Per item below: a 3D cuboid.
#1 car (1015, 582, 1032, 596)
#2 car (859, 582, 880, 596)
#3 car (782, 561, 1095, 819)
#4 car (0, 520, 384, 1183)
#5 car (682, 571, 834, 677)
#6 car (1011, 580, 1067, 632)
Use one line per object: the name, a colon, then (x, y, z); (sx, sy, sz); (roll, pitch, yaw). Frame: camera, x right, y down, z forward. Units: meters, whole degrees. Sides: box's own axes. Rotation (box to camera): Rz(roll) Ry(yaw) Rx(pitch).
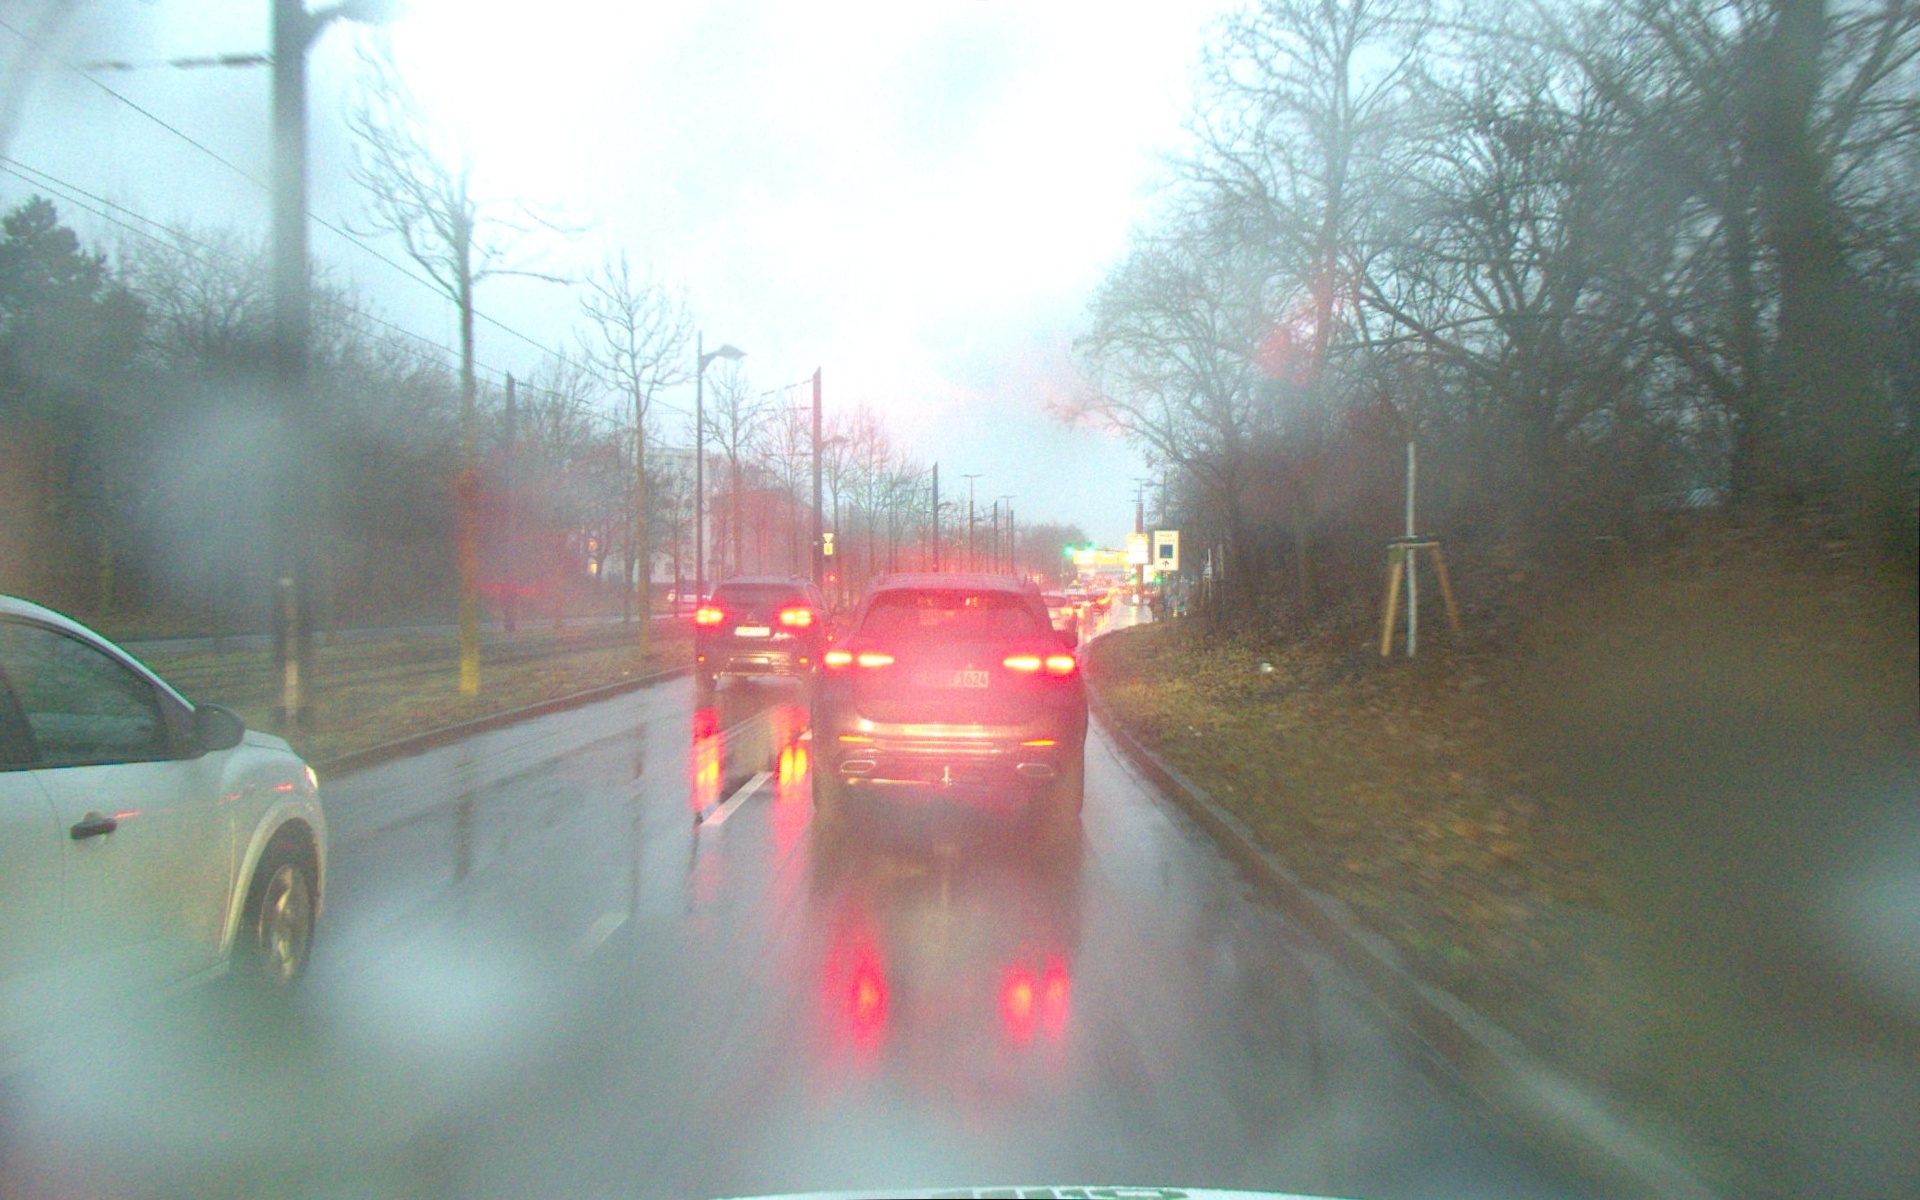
car: (8.130, -1.416, 212.704); (1.951, 1.695, 3.839); (0, 0, 6)
car: (-11.237, -1.370, 204.738); (1.951, 1.687, 4.003); (1, 0, 6)
car: (-0.174, 0.541, 12.404); (1.958, 1.612, 3.999); (0, 1, -1)
car: (-3.086, 0.587, 4.381); (1.673, 1.551, 4.134); (0, 0, 0)
car: (-3.010, 0.307, 25.370); (1.842, 1.484, 4.000); (0, 1, 0)
car: (2.457, 0.168, 51.860); (1.673, 1.585, 3.997); (0, 0, 2)
